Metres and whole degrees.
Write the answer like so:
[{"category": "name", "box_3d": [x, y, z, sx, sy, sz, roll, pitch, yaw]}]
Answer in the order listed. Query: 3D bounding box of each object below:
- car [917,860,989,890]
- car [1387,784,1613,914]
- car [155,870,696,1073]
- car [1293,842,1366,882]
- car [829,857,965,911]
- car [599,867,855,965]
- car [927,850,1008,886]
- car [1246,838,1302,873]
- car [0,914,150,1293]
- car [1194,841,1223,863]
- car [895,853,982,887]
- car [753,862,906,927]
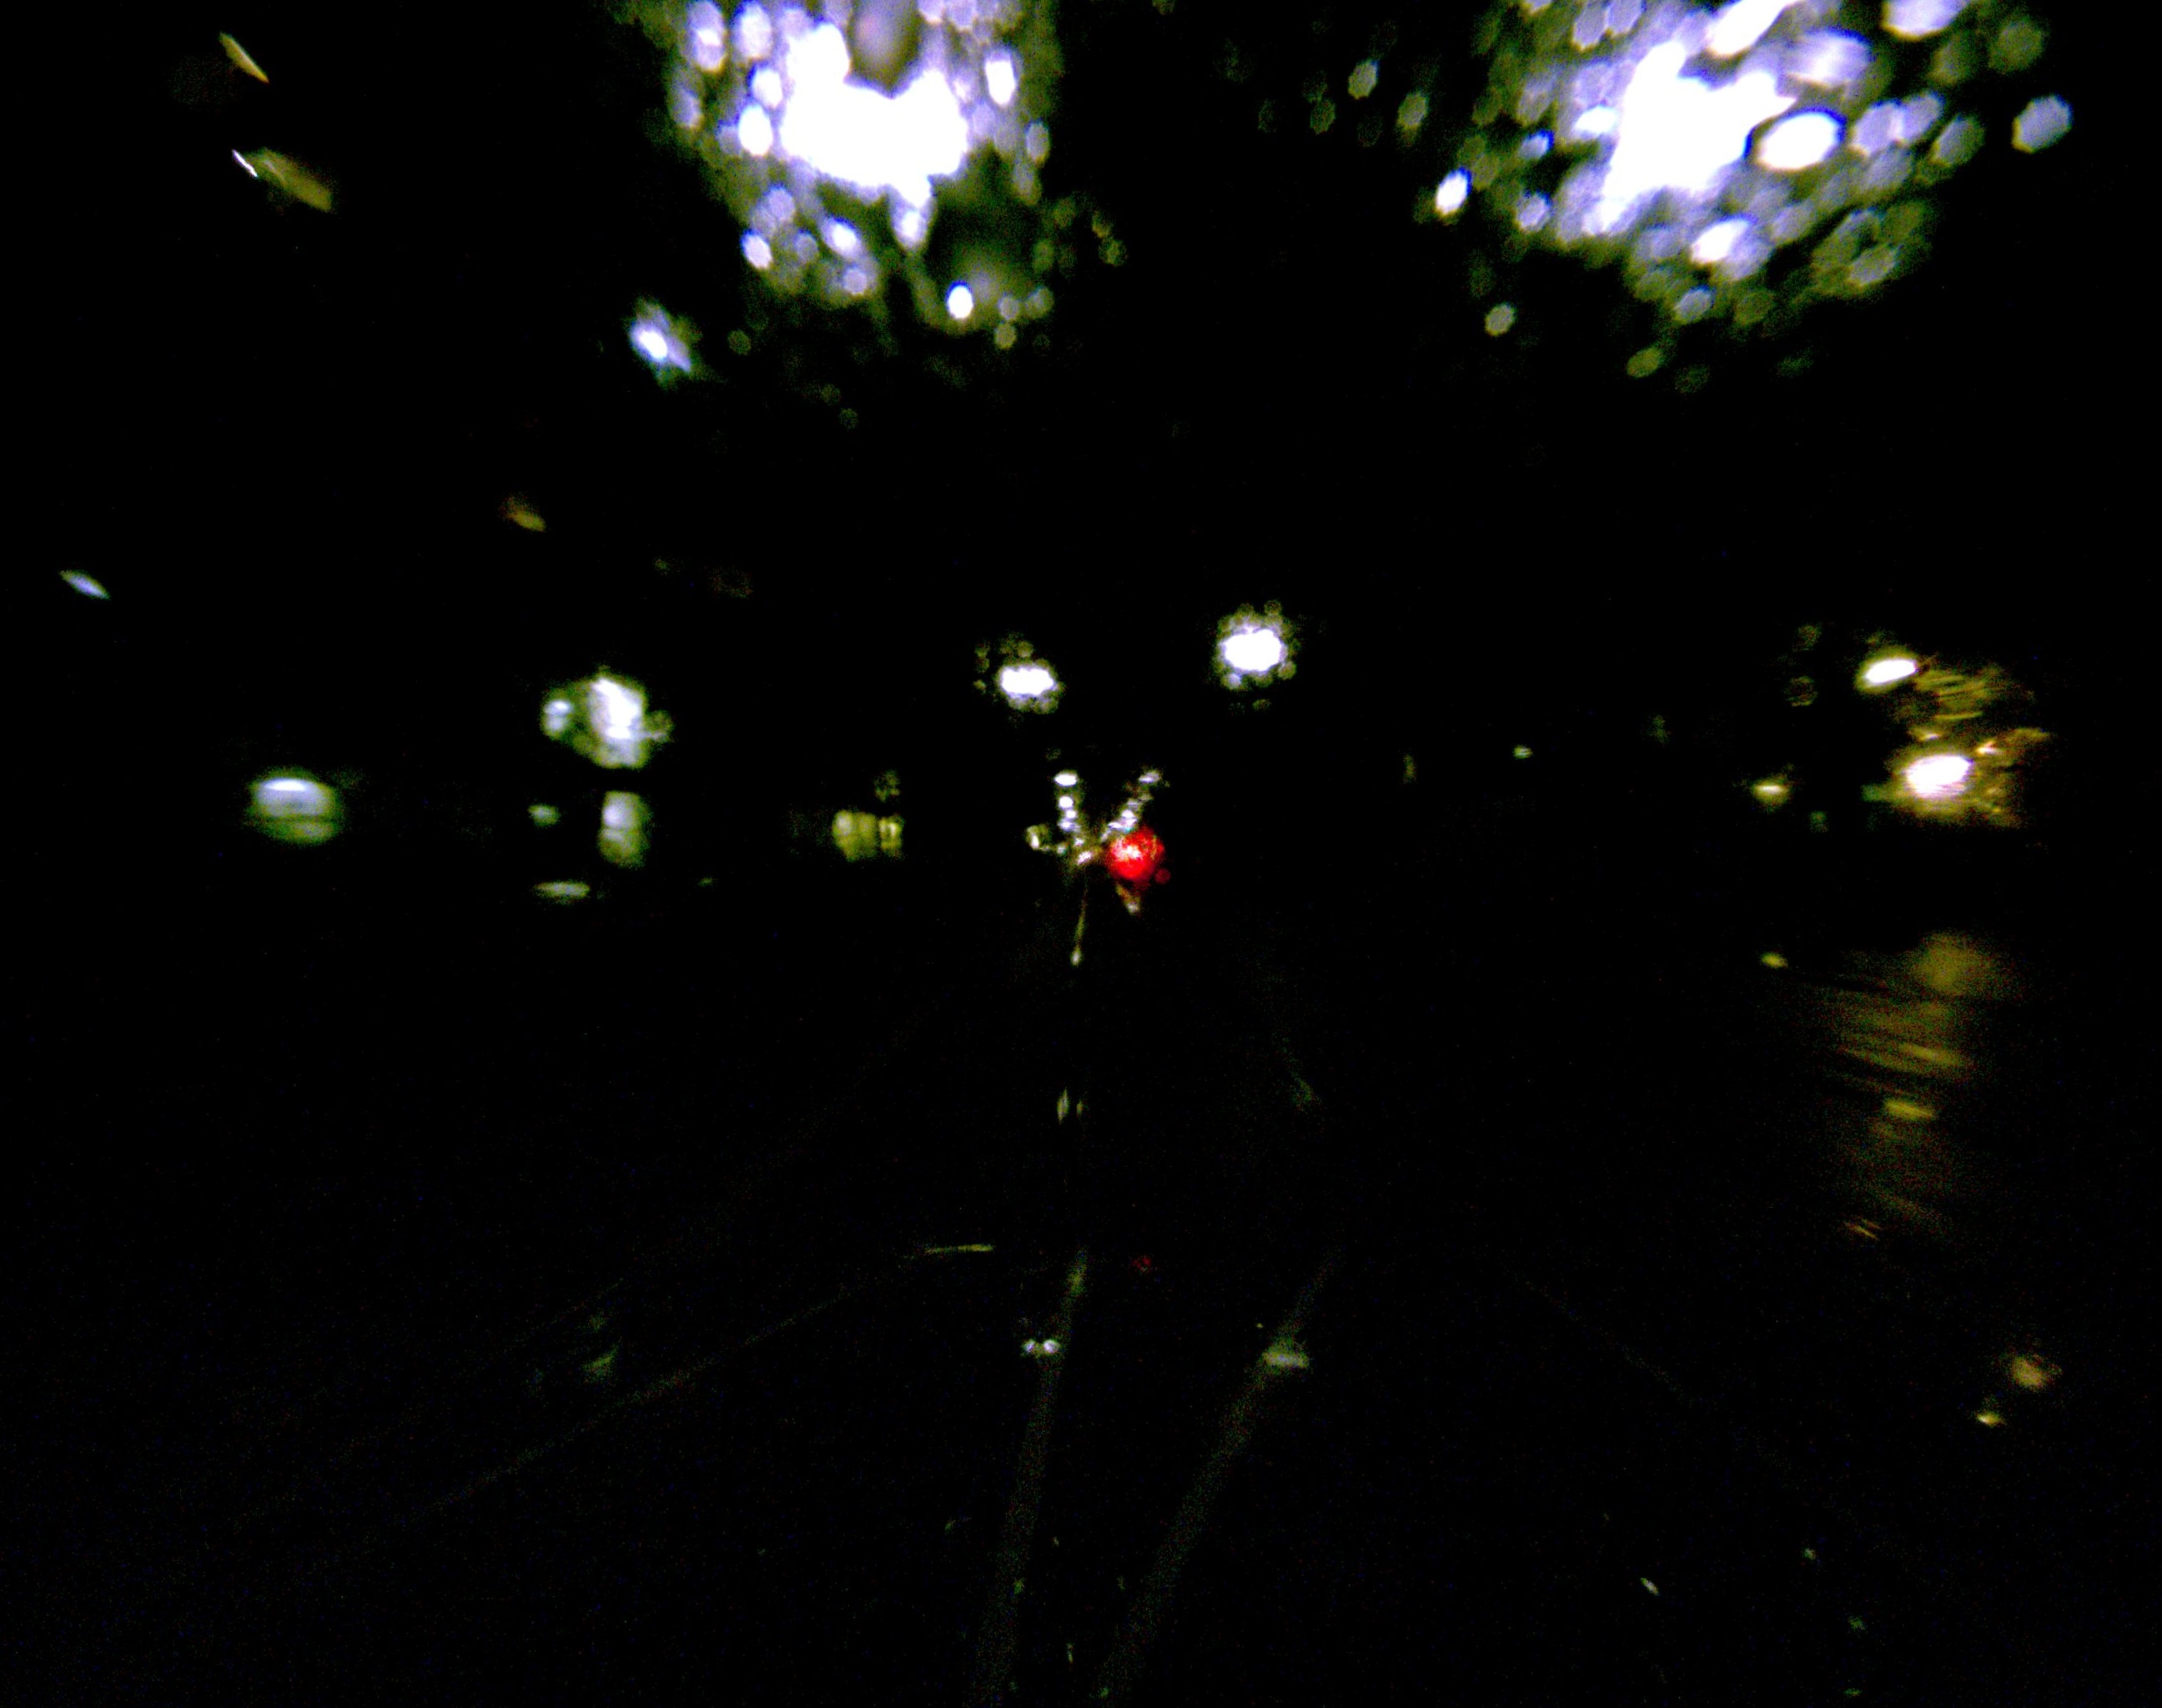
[{"category": "car", "box_3d": [-5.902, 0.945, 35.209, 1.503, 1.216, 2.950, 0, 2, 44]}, {"category": "car", "box_3d": [9.551, -0.155, 18.015, 2.248, 2.494, 5.258, -4, 1, -2]}, {"category": "car", "box_3d": [-6.831, 1.041, 8.414, 1.658, 1.473, 4.194, -3, 0, 43]}, {"category": "car", "box_3d": [9.762, 0.276, 30.092, 1.720, 1.399, 3.389, -4, 1, 0]}, {"category": "car", "box_3d": [-6.113, 0.927, 25.535, 4.021, 1.519, 1.795, -3, 2, -41]}, {"category": "car", "box_3d": [-6.796, 1.089, 14.871, 4.170, 1.437, 1.651, -3, 1, -42]}, {"category": "car", "box_3d": [-6.130, 0.705, 41.158, 3.964, 1.761, 1.666, -3, 2, -36]}, {"category": "car", "box_3d": [9.775, 0.042, 38.756, 1.846, 1.573, 3.663, -4, 1, 0]}, {"category": "car", "box_3d": [-6.473, 1.120, 2.331, 4.264, 1.409, 1.780, -3, 2, -40]}, {"category": "car", "box_3d": [9.983, -0.190, 59.680, 1.693, 1.566, 3.917, -2, 1, 1]}, {"category": "car", "box_3d": [-7.117, 0.749, 38.102, 3.963, 1.499, 1.617, -2, 2, -26]}, {"category": "car", "box_3d": [-7.020, 1.060, 21.449, 1.711, 1.519, 3.675, 0, 2, 45]}]
